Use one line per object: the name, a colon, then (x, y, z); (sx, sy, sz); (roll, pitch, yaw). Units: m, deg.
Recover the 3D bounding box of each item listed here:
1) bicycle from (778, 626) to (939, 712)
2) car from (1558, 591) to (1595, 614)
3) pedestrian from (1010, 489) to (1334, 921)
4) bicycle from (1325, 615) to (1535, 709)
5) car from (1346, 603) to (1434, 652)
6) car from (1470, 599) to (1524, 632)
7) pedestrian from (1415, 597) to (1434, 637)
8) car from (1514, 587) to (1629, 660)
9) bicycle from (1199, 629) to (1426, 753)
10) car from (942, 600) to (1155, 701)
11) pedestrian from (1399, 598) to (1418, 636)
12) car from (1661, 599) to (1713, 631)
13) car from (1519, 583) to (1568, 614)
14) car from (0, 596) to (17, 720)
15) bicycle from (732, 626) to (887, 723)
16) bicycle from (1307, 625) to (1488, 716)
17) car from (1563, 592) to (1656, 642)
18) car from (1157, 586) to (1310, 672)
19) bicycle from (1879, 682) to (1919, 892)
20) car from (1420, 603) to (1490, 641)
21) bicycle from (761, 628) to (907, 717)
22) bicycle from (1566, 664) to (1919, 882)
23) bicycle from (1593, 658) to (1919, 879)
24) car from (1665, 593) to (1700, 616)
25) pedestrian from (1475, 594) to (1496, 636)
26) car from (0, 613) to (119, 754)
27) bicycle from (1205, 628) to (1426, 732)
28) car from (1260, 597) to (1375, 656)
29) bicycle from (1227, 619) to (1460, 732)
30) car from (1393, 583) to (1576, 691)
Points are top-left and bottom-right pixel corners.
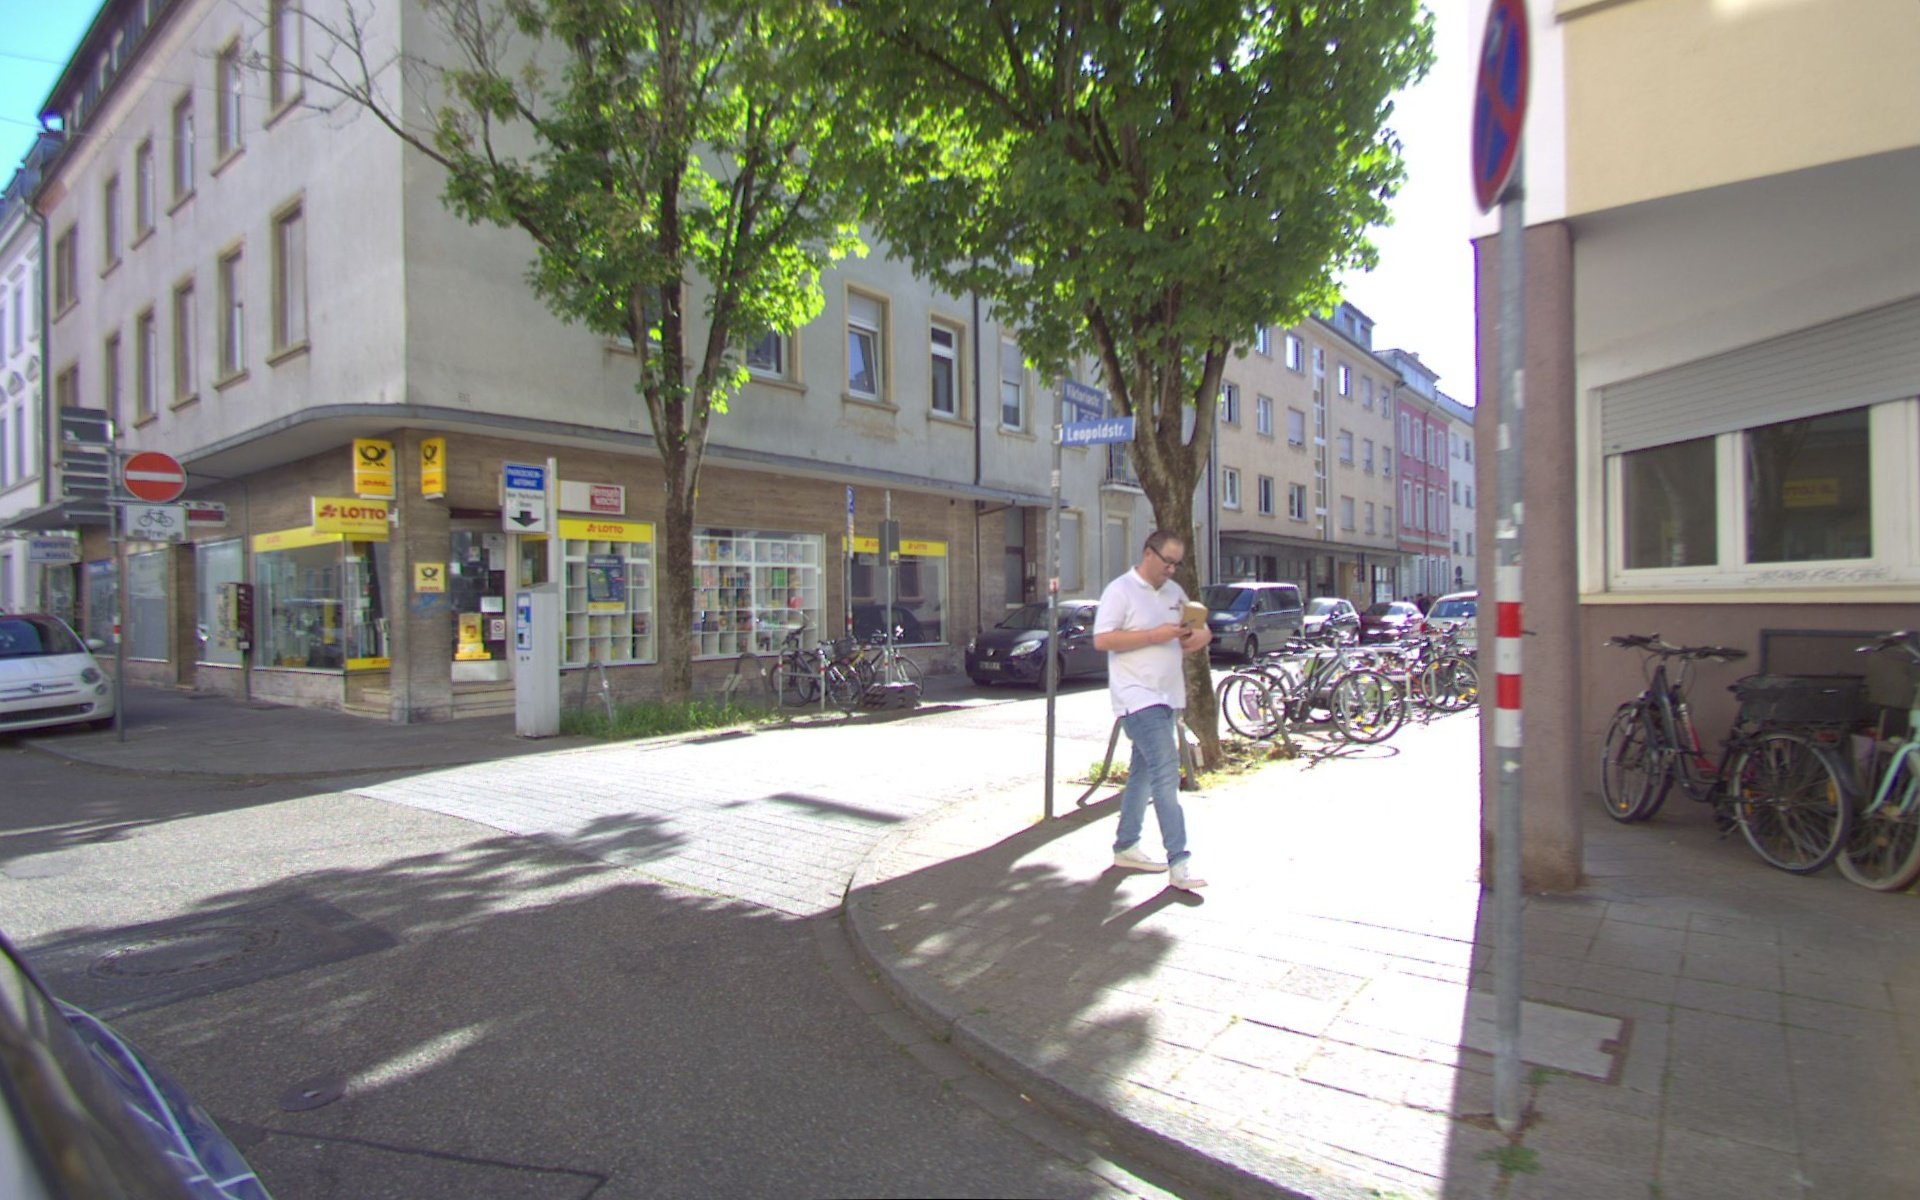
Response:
bicycle: (-1.507, 0.967, 14.787); (2.421, 1.135, 0.701); (0, 0, 31)
car: (45.374, 0.191, 74.451); (1.775, 1.655, 3.916); (0, 0, 39)
pedestrian: (1.056, 0.475, 5.084); (1.244, 1.846, 0.902); (-4, -2, 38)
bicycle: (6.395, 0.868, 13.858); (2.418, 1.155, 0.826); (-5, -3, 38)
car: (15.435, 0.948, 36.217); (1.827, 1.645, 3.887); (-3, -2, 40)
car: (27.500, 0.762, 51.779); (1.668, 1.598, 3.824); (-1, 0, 40)
pedestrian: (21.073, 0.746, 45.900); (0.623, 1.802, 0.655); (0, 0, 39)
car: (15.926, 0.596, 26.266); (1.864, 1.705, 4.184); (-4, -3, 40)
bicycle: (3.449, 0.870, 10.050); (2.059, 1.110, 0.477); (-3, -1, 38)
car: (1.744, 0.832, 18.745); (1.900, 1.598, 4.184); (1, 1, 40)
pedestrian: (20.526, 0.776, 46.308); (0.623, 1.730, 0.655); (0, 0, 39)
car: (36.315, 0.748, 50.528); (1.701, 1.535, 3.713); (-3, -2, 42)
car: (37.517, -0.087, 65.043); (1.998, 1.909, 4.643); (0, 0, 39)
car: (-17.141, 0.926, 16.512); (4.801, 1.913, 1.750); (-2, -2, 37)
bicycle: (-2.061, 0.956, 13.625); (2.305, 1.151, 0.700); (0, 0, 39)
bicycle: (5.622, 0.928, 13.076); (1.994, 1.075, 0.673); (-5, -3, 38)
car: (22.972, 0.596, 35.694); (2.145, 1.638, 4.822); (-3, -2, 40)
car: (7.005, 0.644, 25.590); (2.083, 1.961, 4.538); (1, 1, 39)
bicycle: (4.491, 0.815, 3.789); (0.424, 0.889, 1.573); (-2, 1, -12)
car: (21.850, 0.931, 44.605); (1.827, 1.557, 3.996); (-1, -1, 40)
bicycle: (-1.821, 0.984, 14.281); (2.400, 1.126, 0.516); (0, 0, 39)
bicycle: (4.002, 0.825, 5.337); (0.397, 0.904, 1.589); (0, -1, -11)
bicycle: (4.380, 0.822, 5.523); (0.376, 0.920, 1.867); (0, -1, -11)
car: (55.741, 0.336, 78.071); (1.827, 1.703, 4.146); (-3, -2, 40)
pedestrian: (25.395, 0.711, 48.919); (0.850, 2.029, 0.862); (0, 0, 23)
car: (-12.156, 0.982, 12.803); (3.718, 1.572, 1.651); (-1, 0, 39)
bicycle: (3.878, 0.880, 11.188); (2.181, 1.037, 0.633); (-5, -3, 40)
car: (10.645, 0.761, 29.936); (1.855, 1.600, 4.352); (-3, -2, 38)
bicycle: (4.351, 0.858, 11.654); (2.435, 1.194, 0.497); (-3, -3, 38)
car: (9.207, 0.598, 17.600); (1.993, 1.626, 4.118); (-3, -2, 39)
